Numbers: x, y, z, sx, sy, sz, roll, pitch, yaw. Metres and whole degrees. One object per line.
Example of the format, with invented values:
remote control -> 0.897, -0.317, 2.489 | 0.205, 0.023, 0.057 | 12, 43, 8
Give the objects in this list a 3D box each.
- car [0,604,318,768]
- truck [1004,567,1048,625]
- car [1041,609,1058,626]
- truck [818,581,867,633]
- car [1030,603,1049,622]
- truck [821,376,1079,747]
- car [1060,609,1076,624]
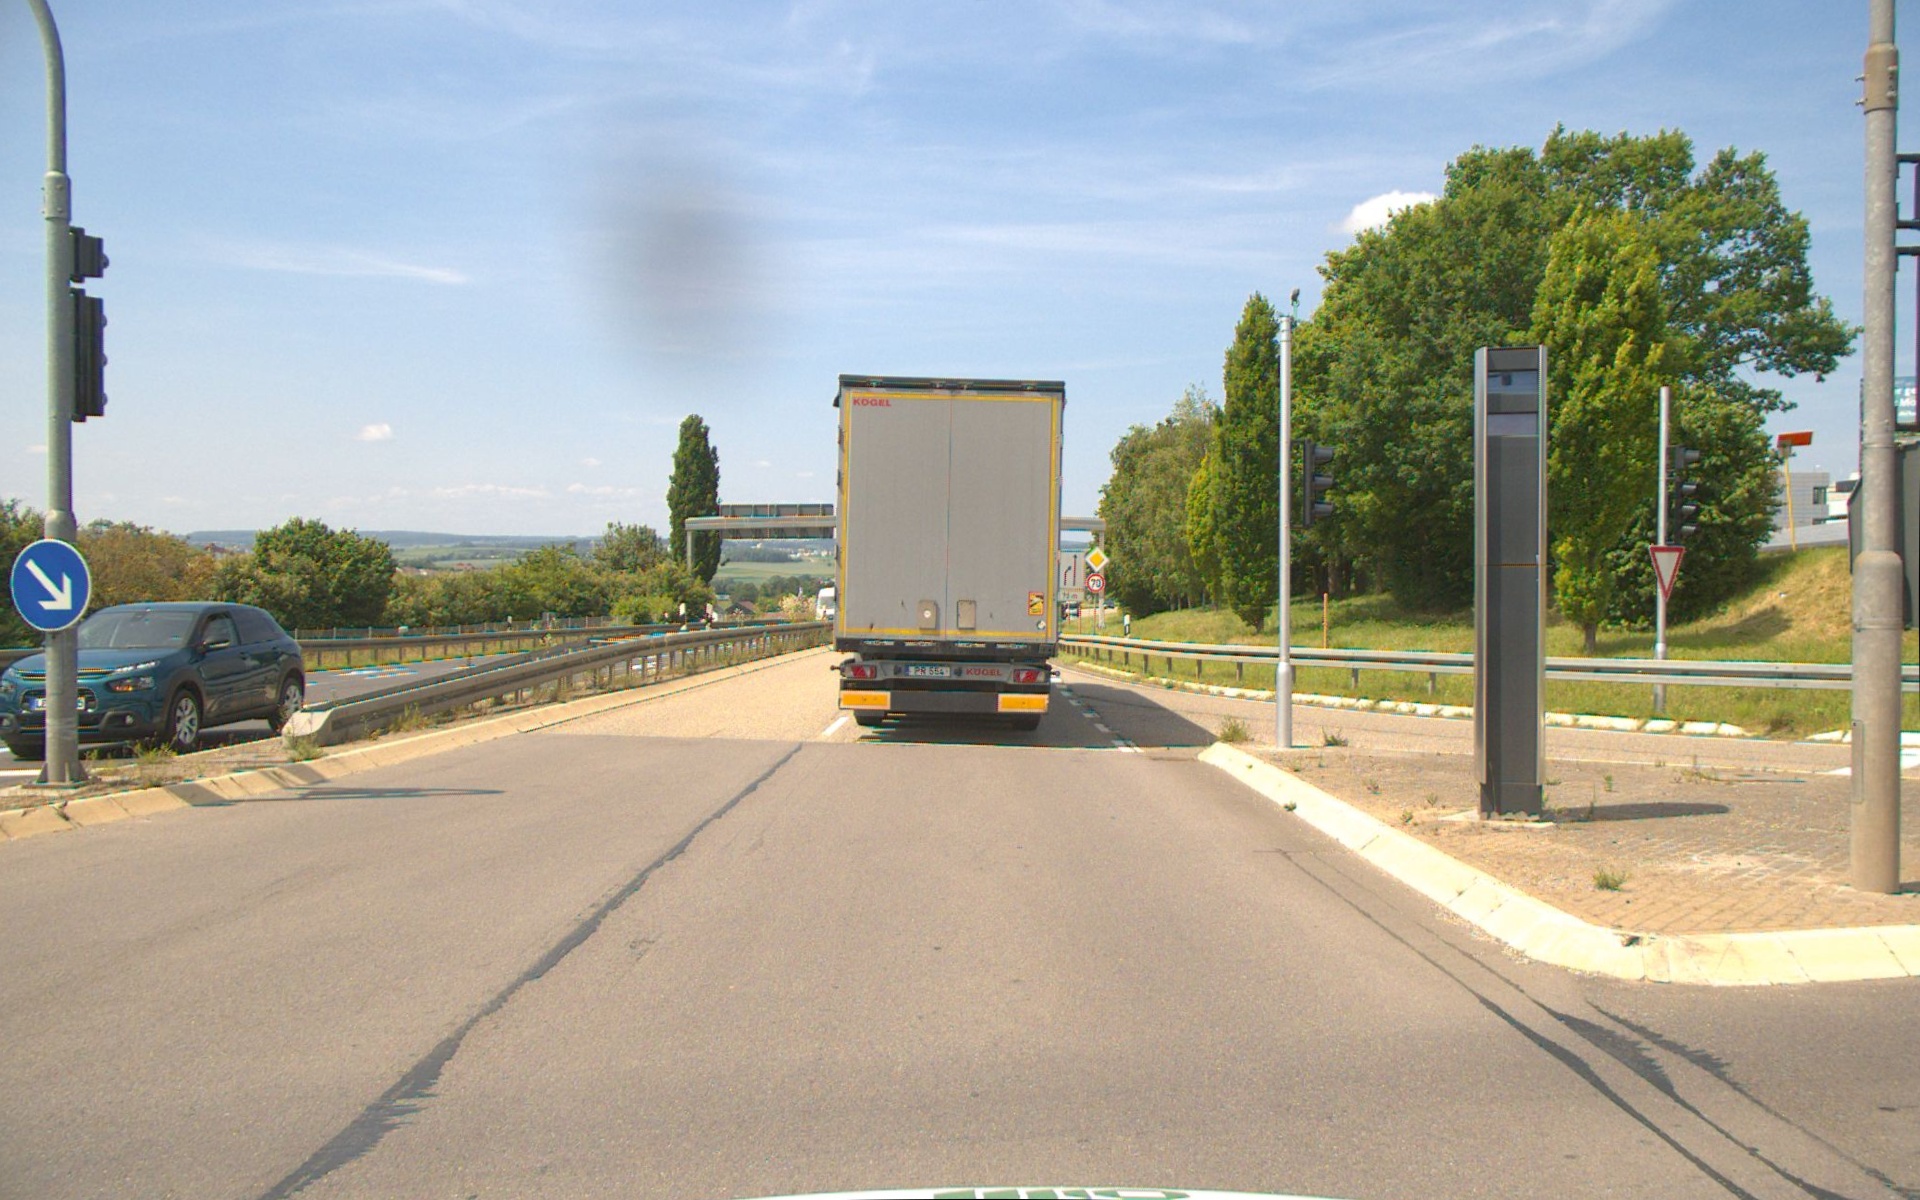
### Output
car -> -8.447, 0.809, 17.465 | 1.719, 1.494, 4.195 | -1, 0, -1
truck -> 4.745, -0.199, 116.905 | 2.599, 3.830, 10.167 | 1, -1, 5
car -> 9.540, 1.851, 176.307 | 1.749, 1.717, 4.001 | 1, -1, 2
truck -> -6.304, 0.382, 89.488 | 1.998, 2.667, 6.020 | -2, 0, 1
car -> 7.701, 1.214, 159.651 | 1.749, 1.717, 4.001 | 1, -1, 2
truck -> -0.297, -0.410, 23.754 | 2.743, 3.998, 11.336 | 1, 0, -2
car -> 12.717, 1.957, 195.206 | 1.749, 1.717, 4.001 | 1, -1, 2
